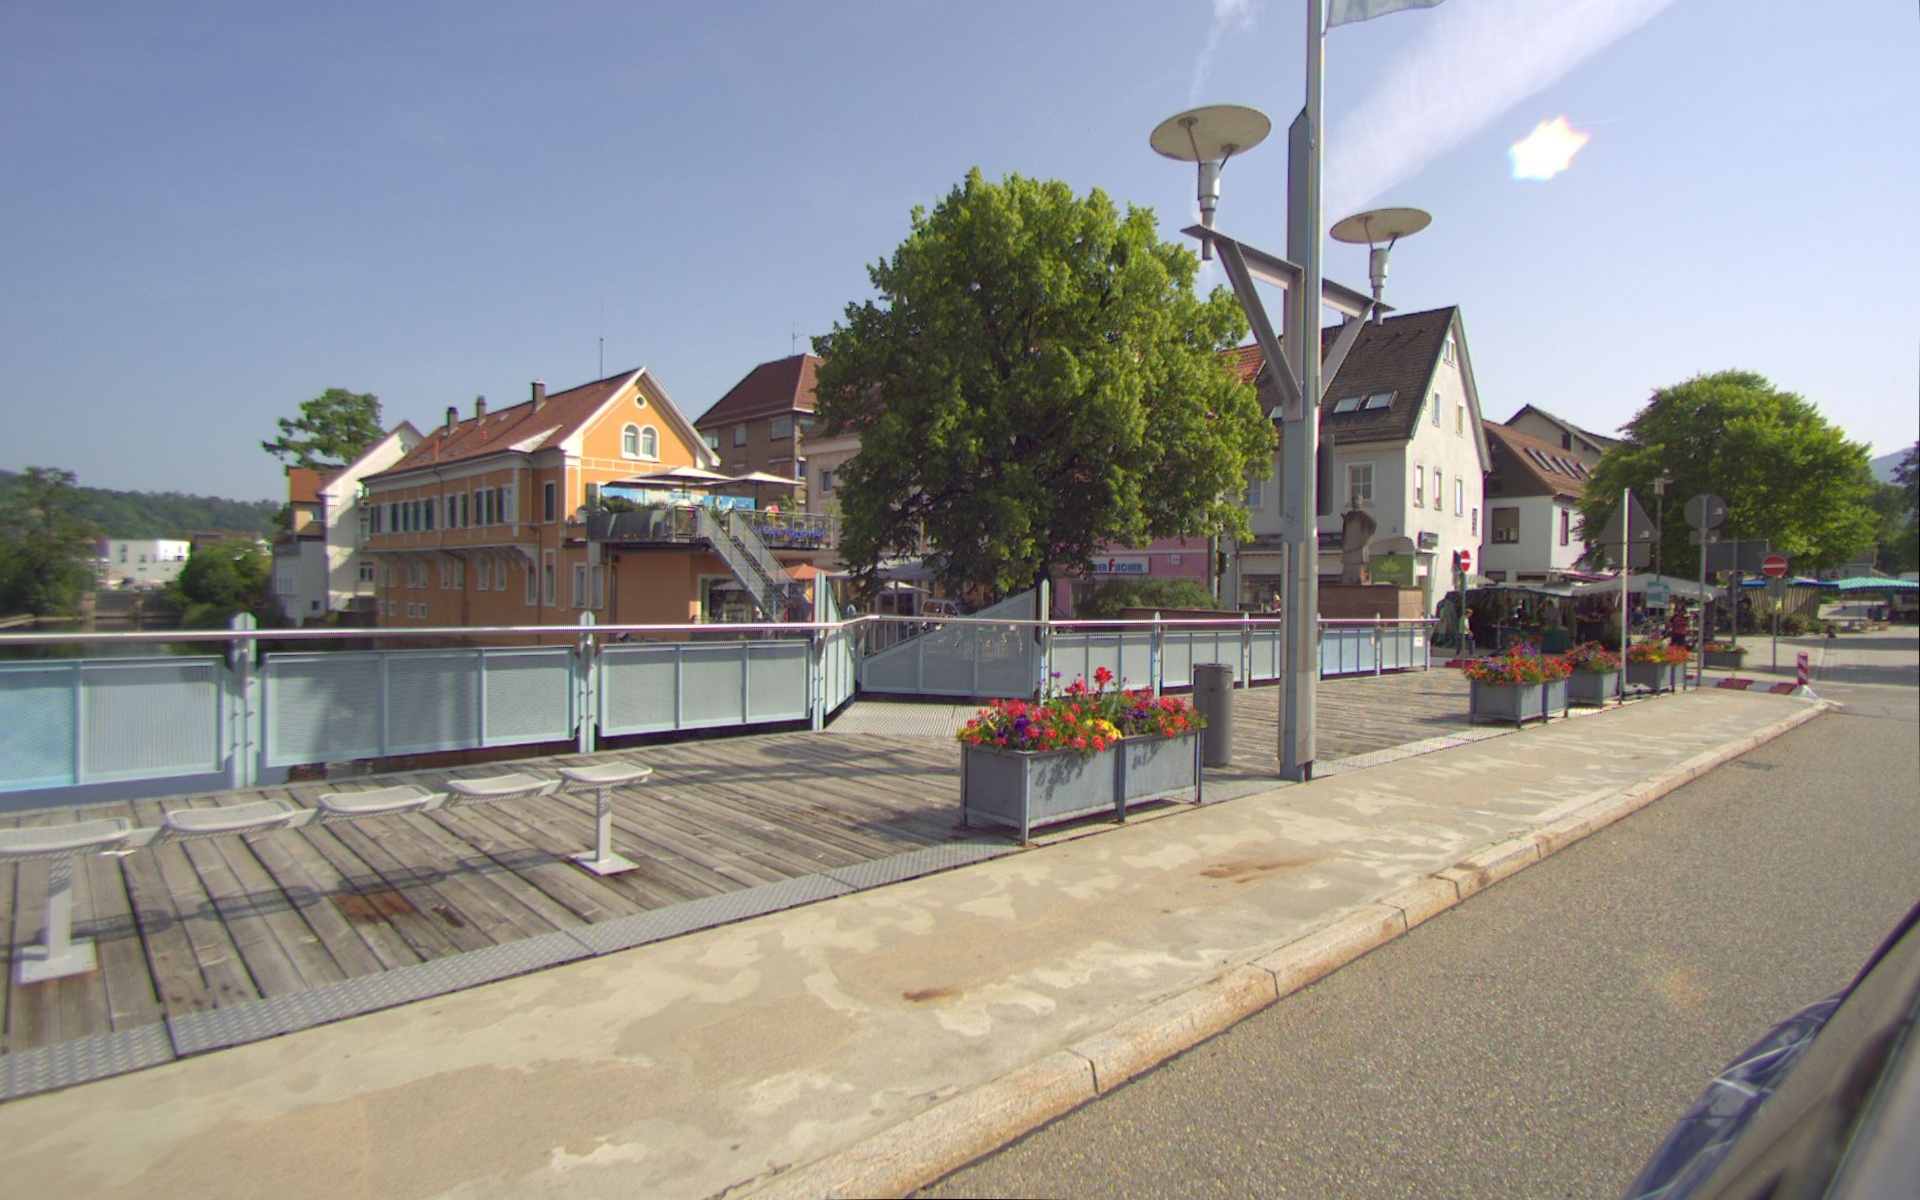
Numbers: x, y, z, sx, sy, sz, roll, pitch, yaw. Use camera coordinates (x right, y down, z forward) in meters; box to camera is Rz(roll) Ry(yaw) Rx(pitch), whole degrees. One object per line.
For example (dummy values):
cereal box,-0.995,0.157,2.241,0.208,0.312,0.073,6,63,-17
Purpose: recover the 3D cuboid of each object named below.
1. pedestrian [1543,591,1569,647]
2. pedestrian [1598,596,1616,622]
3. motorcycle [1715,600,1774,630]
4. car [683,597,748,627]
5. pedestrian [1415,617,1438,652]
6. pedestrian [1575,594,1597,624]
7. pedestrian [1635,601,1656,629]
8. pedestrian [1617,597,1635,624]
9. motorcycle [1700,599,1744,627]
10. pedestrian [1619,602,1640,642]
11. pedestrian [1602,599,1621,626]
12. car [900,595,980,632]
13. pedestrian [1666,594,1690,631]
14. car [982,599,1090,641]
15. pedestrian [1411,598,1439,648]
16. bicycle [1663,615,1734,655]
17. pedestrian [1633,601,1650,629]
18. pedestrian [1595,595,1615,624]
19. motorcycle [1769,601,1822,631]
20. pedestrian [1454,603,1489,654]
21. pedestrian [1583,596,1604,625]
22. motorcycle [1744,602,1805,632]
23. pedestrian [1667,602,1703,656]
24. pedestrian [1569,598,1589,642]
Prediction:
pedestrian,21.604,0.674,36.701,0.700,2.010,0.647,1,0,25
pedestrian,31.824,0.425,49.786,0.640,1.215,0.571,-1,4,-43
motorcycle,36.017,0.686,46.488,0.631,1.210,2.008,0,4,-31
car,-13.590,0.622,56.115,1.656,1.578,4.093,-1,1,-44
pedestrian,16.226,1.191,35.214,0.614,1.175,0.513,1,0,17
pedestrian,29.676,0.417,47.976,0.687,1.347,0.626,-1,3,-41
pedestrian,30.571,0.659,45.147,0.694,1.215,0.566,3,3,32
pedestrian,32.398,0.506,49.235,0.640,1.215,0.571,-1,4,-43
motorcycle,36.123,0.623,47.964,0.633,1.210,1.529,0,4,-44
pedestrian,25.918,0.847,39.173,0.618,1.537,0.625,1,0,35
pedestrian,30.498,0.570,47.395,0.640,1.215,0.571,-1,4,-43
car,-1.052,0.652,51.598,4.131,1.761,1.686,1,2,44
pedestrian,31.984,0.552,45.092,0.562,1.572,0.699,0,3,-38
car,3.208,0.818,43.392,4.484,1.585,1.797,1,2,44
pedestrian,16.453,0.806,35.796,0.777,1.745,0.703,1,0,17
bicycle,24.730,1.147,33.928,1.849,1.250,0.610,1,0,33
pedestrian,31.054,0.698,46.108,0.569,1.215,0.643,3,3,35
pedestrian,31.175,0.441,48.914,0.687,1.347,0.626,-1,3,-41
motorcycle,38.254,0.731,46.355,0.631,1.210,2.008,2,3,-3
pedestrian,17.199,0.936,34.031,0.775,1.652,0.857,-3,2,-43
pedestrian,30.380,0.497,48.551,0.687,1.347,0.626,-1,3,-41
motorcycle,37.163,0.753,46.205,0.631,1.210,2.008,1,3,-31
pedestrian,23.721,0.942,33.135,0.878,1.678,0.565,4,3,36
pedestrian,23.710,0.760,38.781,0.520,1.647,0.697,1,0,41
